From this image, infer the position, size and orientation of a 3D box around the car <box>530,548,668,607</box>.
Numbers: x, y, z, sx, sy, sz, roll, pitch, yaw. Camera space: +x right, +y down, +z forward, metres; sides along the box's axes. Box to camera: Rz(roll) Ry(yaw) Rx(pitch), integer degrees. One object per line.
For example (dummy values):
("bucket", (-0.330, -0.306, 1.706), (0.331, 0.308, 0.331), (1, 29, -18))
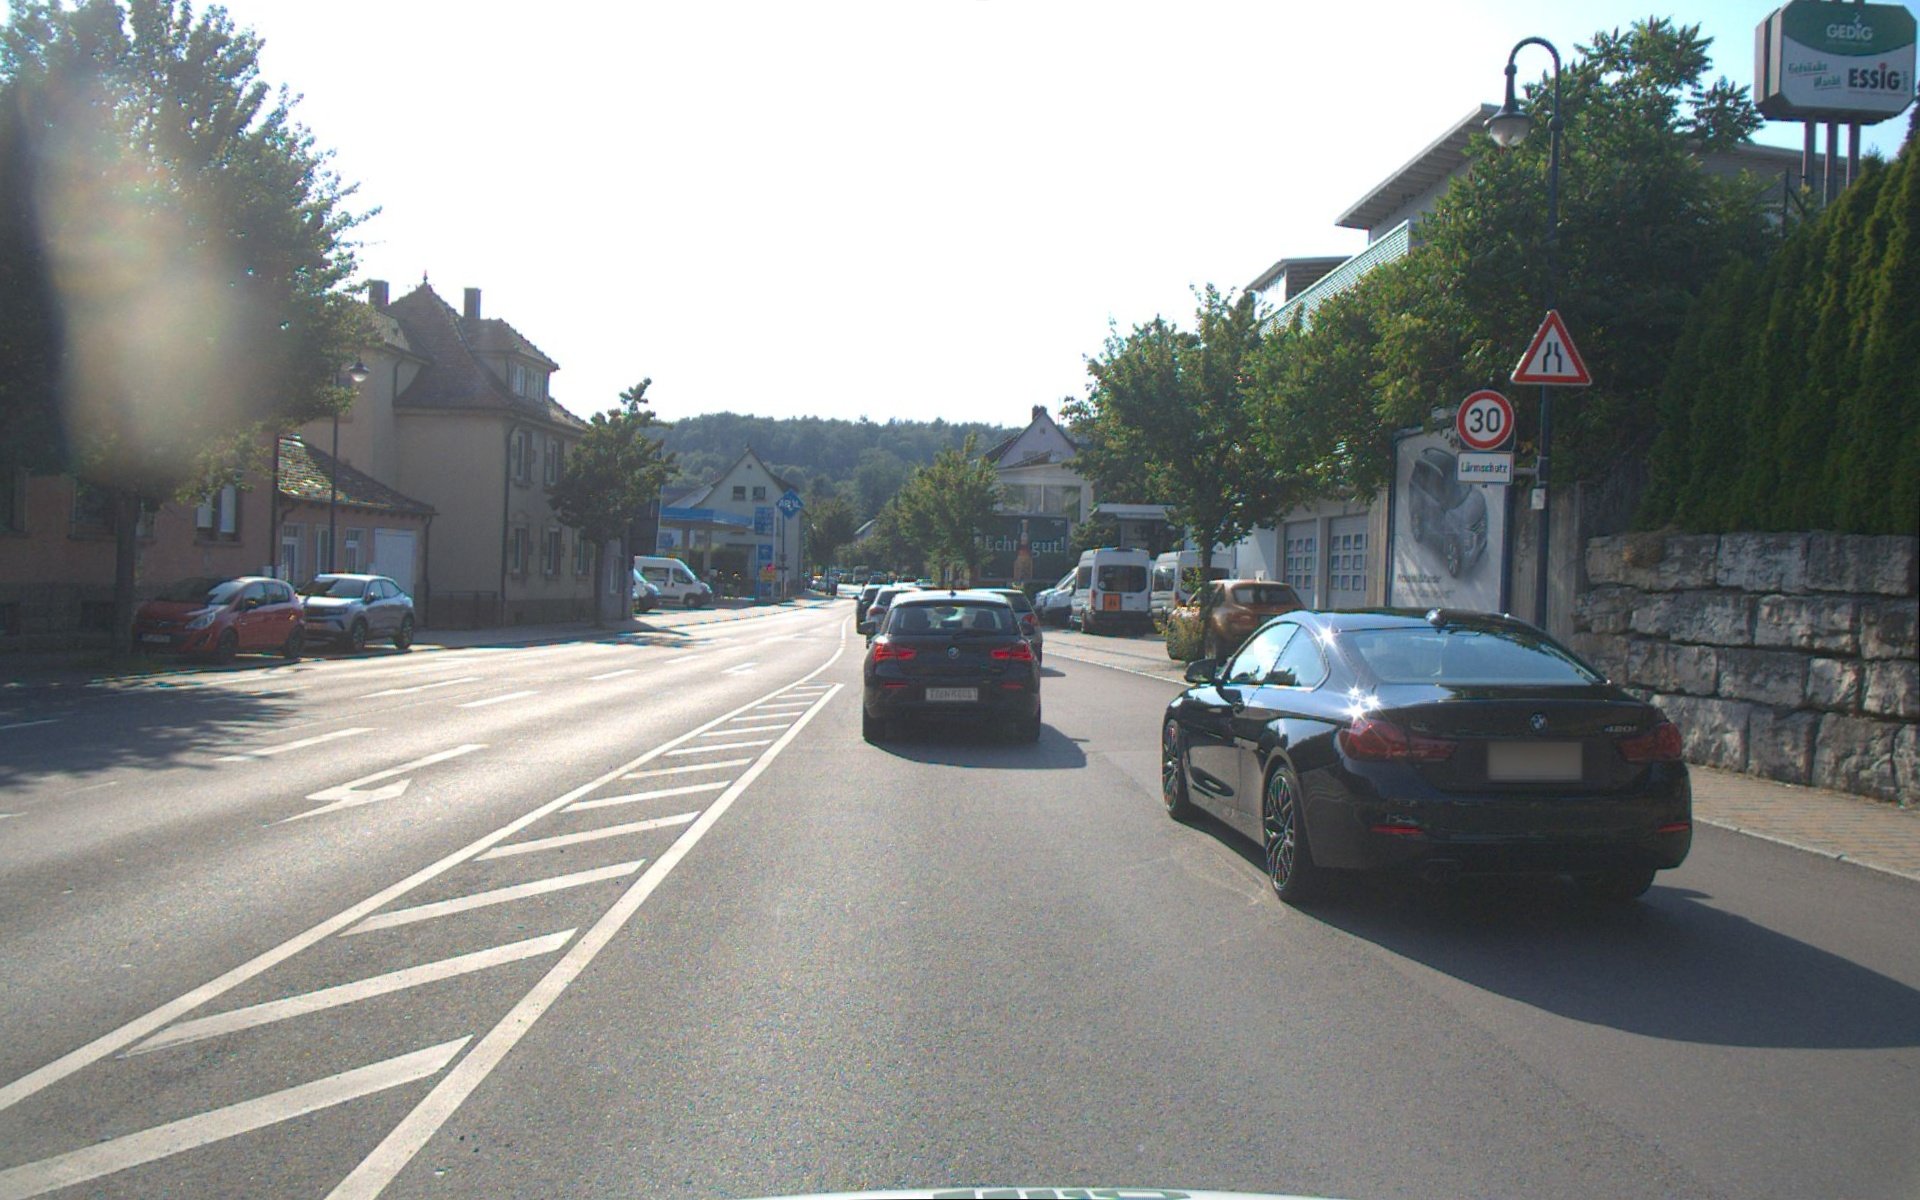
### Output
("car", (-16.542, -1.046, 75.991), (5.797, 2.523, 2.194), (2, 1, 2))

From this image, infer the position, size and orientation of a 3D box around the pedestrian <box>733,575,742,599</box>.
("pedestrian", (-15.716, -0.906, 116.659), (0.598, 1.699, 0.442), (0, 1, -6))

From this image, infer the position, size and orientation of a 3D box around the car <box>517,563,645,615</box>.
("car", (-16.002, -0.467, 69.978), (4.874, 2.034, 1.935), (2, 1, 0))

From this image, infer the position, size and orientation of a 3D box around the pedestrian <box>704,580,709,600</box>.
("pedestrian", (-17.709, -0.719, 115.458), (0.258, 1.407, 0.286), (0, 1, -21))

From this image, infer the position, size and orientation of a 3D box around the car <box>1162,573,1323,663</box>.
("car", (5.618, 0.317, 33.442), (1.801, 1.678, 4.528), (1, 1, -10))

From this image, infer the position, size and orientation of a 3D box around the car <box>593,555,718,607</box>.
("car", (-15.737, -0.984, 85.694), (6.035, 2.487, 2.249), (1, 1, -2))

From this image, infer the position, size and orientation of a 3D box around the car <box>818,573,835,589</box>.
("car", (-13.274, -1.905, 164.160), (1.565, 1.511, 3.473), (1, 1, -3))

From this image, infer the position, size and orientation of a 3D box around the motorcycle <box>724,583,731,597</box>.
("motorcycle", (-16.333, -0.701, 116.288), (0.356, 0.960, 1.694), (0, 1, -4))

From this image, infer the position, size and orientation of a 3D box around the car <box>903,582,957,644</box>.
("car", (-0.893, 0.358, 50.711), (1.570, 1.798, 3.411), (1, 1, 0))

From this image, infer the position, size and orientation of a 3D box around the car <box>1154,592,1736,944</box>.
("car", (2.305, 0.692, 9.096), (1.666, 1.392, 4.258), (0, 1, -5))

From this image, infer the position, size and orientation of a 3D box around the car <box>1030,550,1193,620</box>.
("car", (5.763, -0.575, 63.243), (5.925, 2.560, 2.042), (0, 1, -5))

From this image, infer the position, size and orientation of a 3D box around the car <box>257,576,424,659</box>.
("car", (-12.833, 0.312, 34.517), (1.719, 1.504, 4.002), (3, 1, 3))

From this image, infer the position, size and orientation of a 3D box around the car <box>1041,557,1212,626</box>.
("car", (6.026, -0.325, 60.187), (5.925, 2.404, 2.042), (0, 1, -5))

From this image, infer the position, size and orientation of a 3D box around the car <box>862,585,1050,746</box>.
("car", (-0.068, 0.595, 17.061), (1.736, 1.481, 3.515), (0, 0, -1))

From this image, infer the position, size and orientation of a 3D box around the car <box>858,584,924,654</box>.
("car", (-1.690, 0.435, 41.387), (1.559, 1.628, 3.893), (0, 1, -1))

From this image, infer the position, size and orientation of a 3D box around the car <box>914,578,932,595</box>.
("car", (-3.419, -1.225, 152.012), (1.565, 1.511, 3.473), (1, 1, -3))

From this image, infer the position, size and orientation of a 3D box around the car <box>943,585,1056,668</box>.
("car", (0.690, 0.466, 31.446), (1.720, 1.438, 3.417), (0, 1, -6))

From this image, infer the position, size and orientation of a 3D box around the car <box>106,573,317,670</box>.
("car", (-13.180, 0.334, 29.406), (1.631, 1.513, 4.002), (3, 1, 4))

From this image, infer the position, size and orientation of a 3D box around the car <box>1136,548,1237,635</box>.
("car", (7.523, -0.330, 55.672), (2.070, 2.769, 6.438), (0, 1, -4))

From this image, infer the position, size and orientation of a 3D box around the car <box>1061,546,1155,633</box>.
("car", (4.865, -0.402, 55.286), (2.107, 2.727, 6.599), (0, 1, -4))
